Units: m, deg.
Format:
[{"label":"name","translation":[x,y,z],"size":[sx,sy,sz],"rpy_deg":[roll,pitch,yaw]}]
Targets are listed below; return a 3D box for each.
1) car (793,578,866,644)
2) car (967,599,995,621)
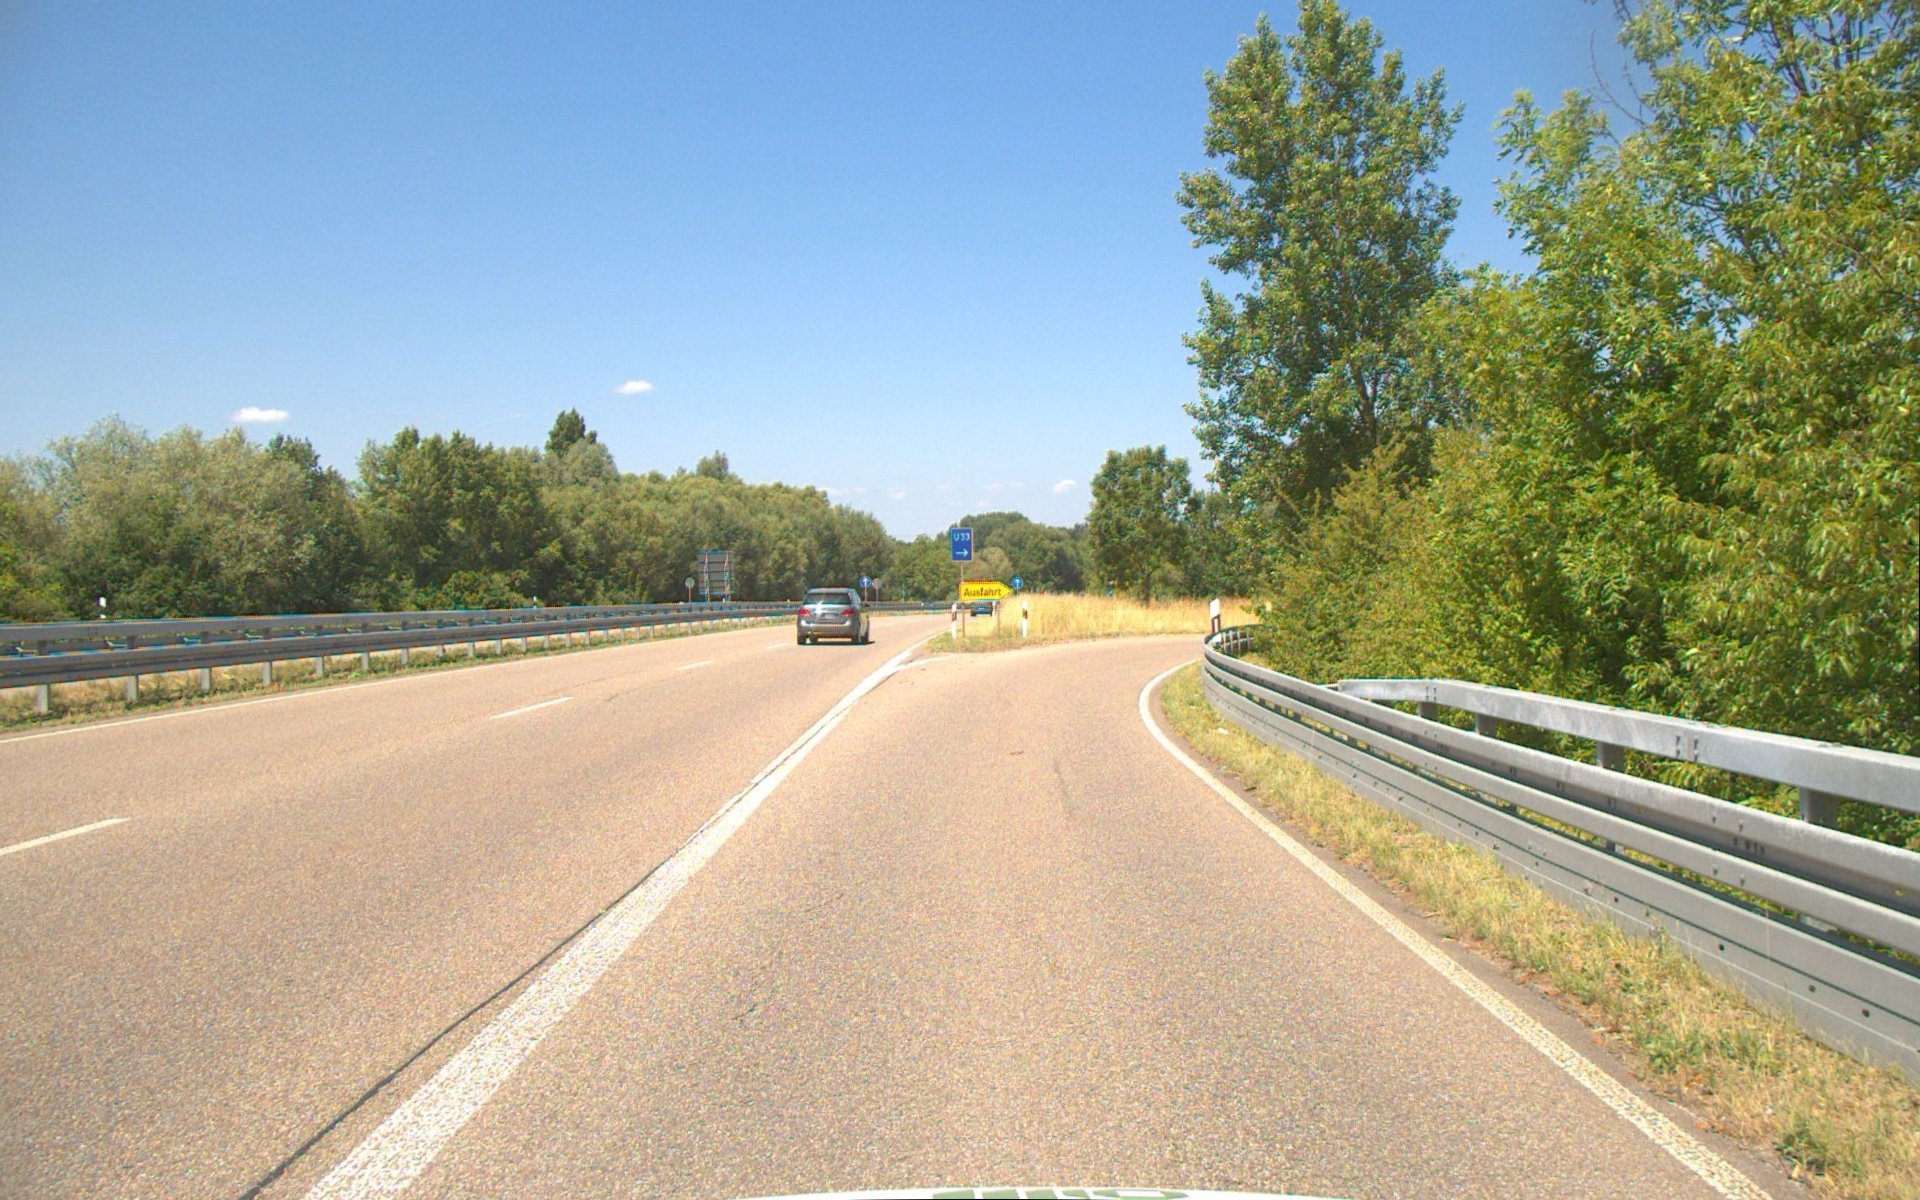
[{"label":"car","translation":[-3.675,0.268,47.349],"size":[1.756,1.696,4.554],"rpy_deg":[1,2,-1]},{"label":"car","translation":[1.617,0.739,126.130],"size":[1.802,1.556,4.473],"rpy_deg":[1,1,6]}]
